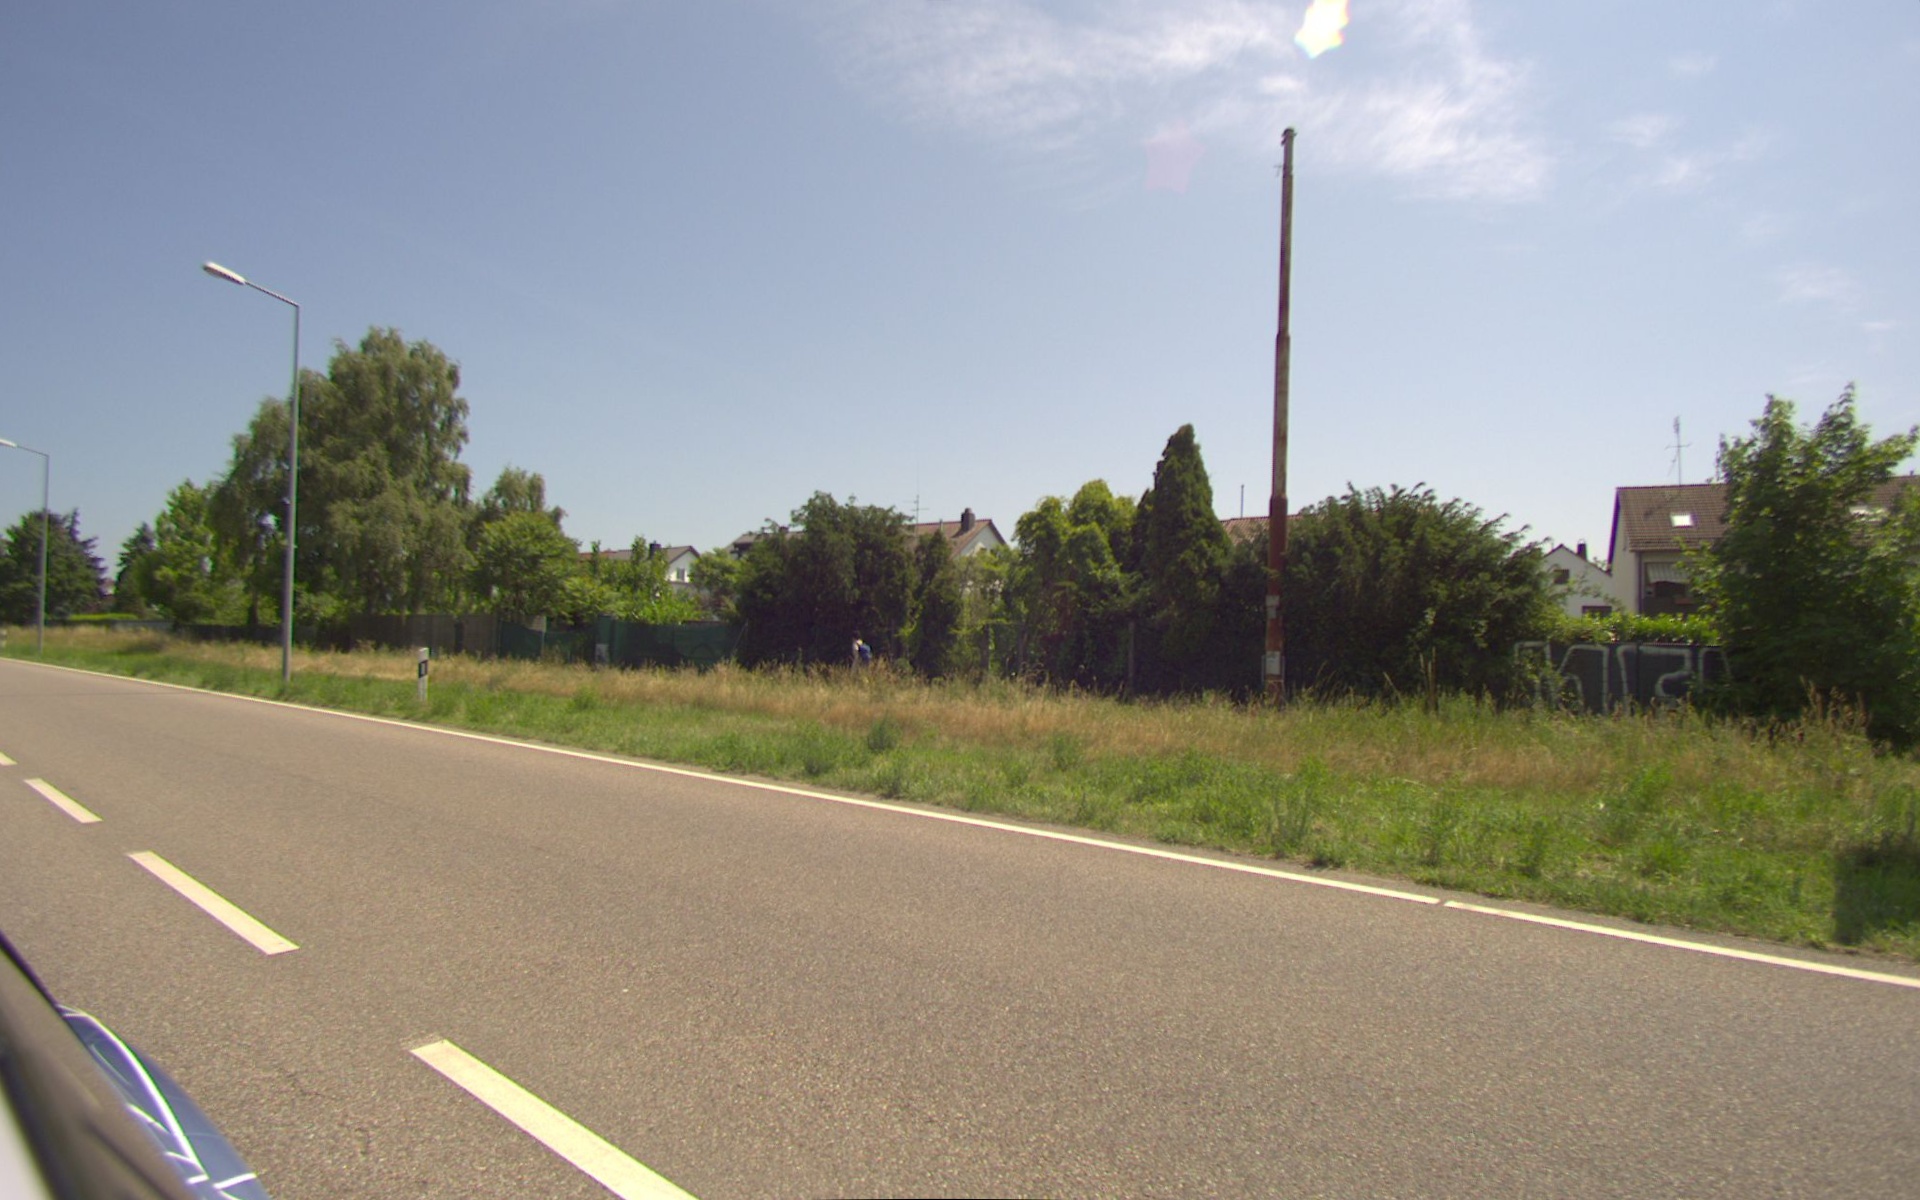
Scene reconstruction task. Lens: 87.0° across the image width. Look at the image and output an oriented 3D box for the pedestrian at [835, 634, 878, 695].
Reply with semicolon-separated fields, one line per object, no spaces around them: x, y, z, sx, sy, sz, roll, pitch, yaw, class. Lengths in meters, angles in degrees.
-2.362;1.465;23.103;0.798;1.365;0.575;-1;-3;40;pedestrian
